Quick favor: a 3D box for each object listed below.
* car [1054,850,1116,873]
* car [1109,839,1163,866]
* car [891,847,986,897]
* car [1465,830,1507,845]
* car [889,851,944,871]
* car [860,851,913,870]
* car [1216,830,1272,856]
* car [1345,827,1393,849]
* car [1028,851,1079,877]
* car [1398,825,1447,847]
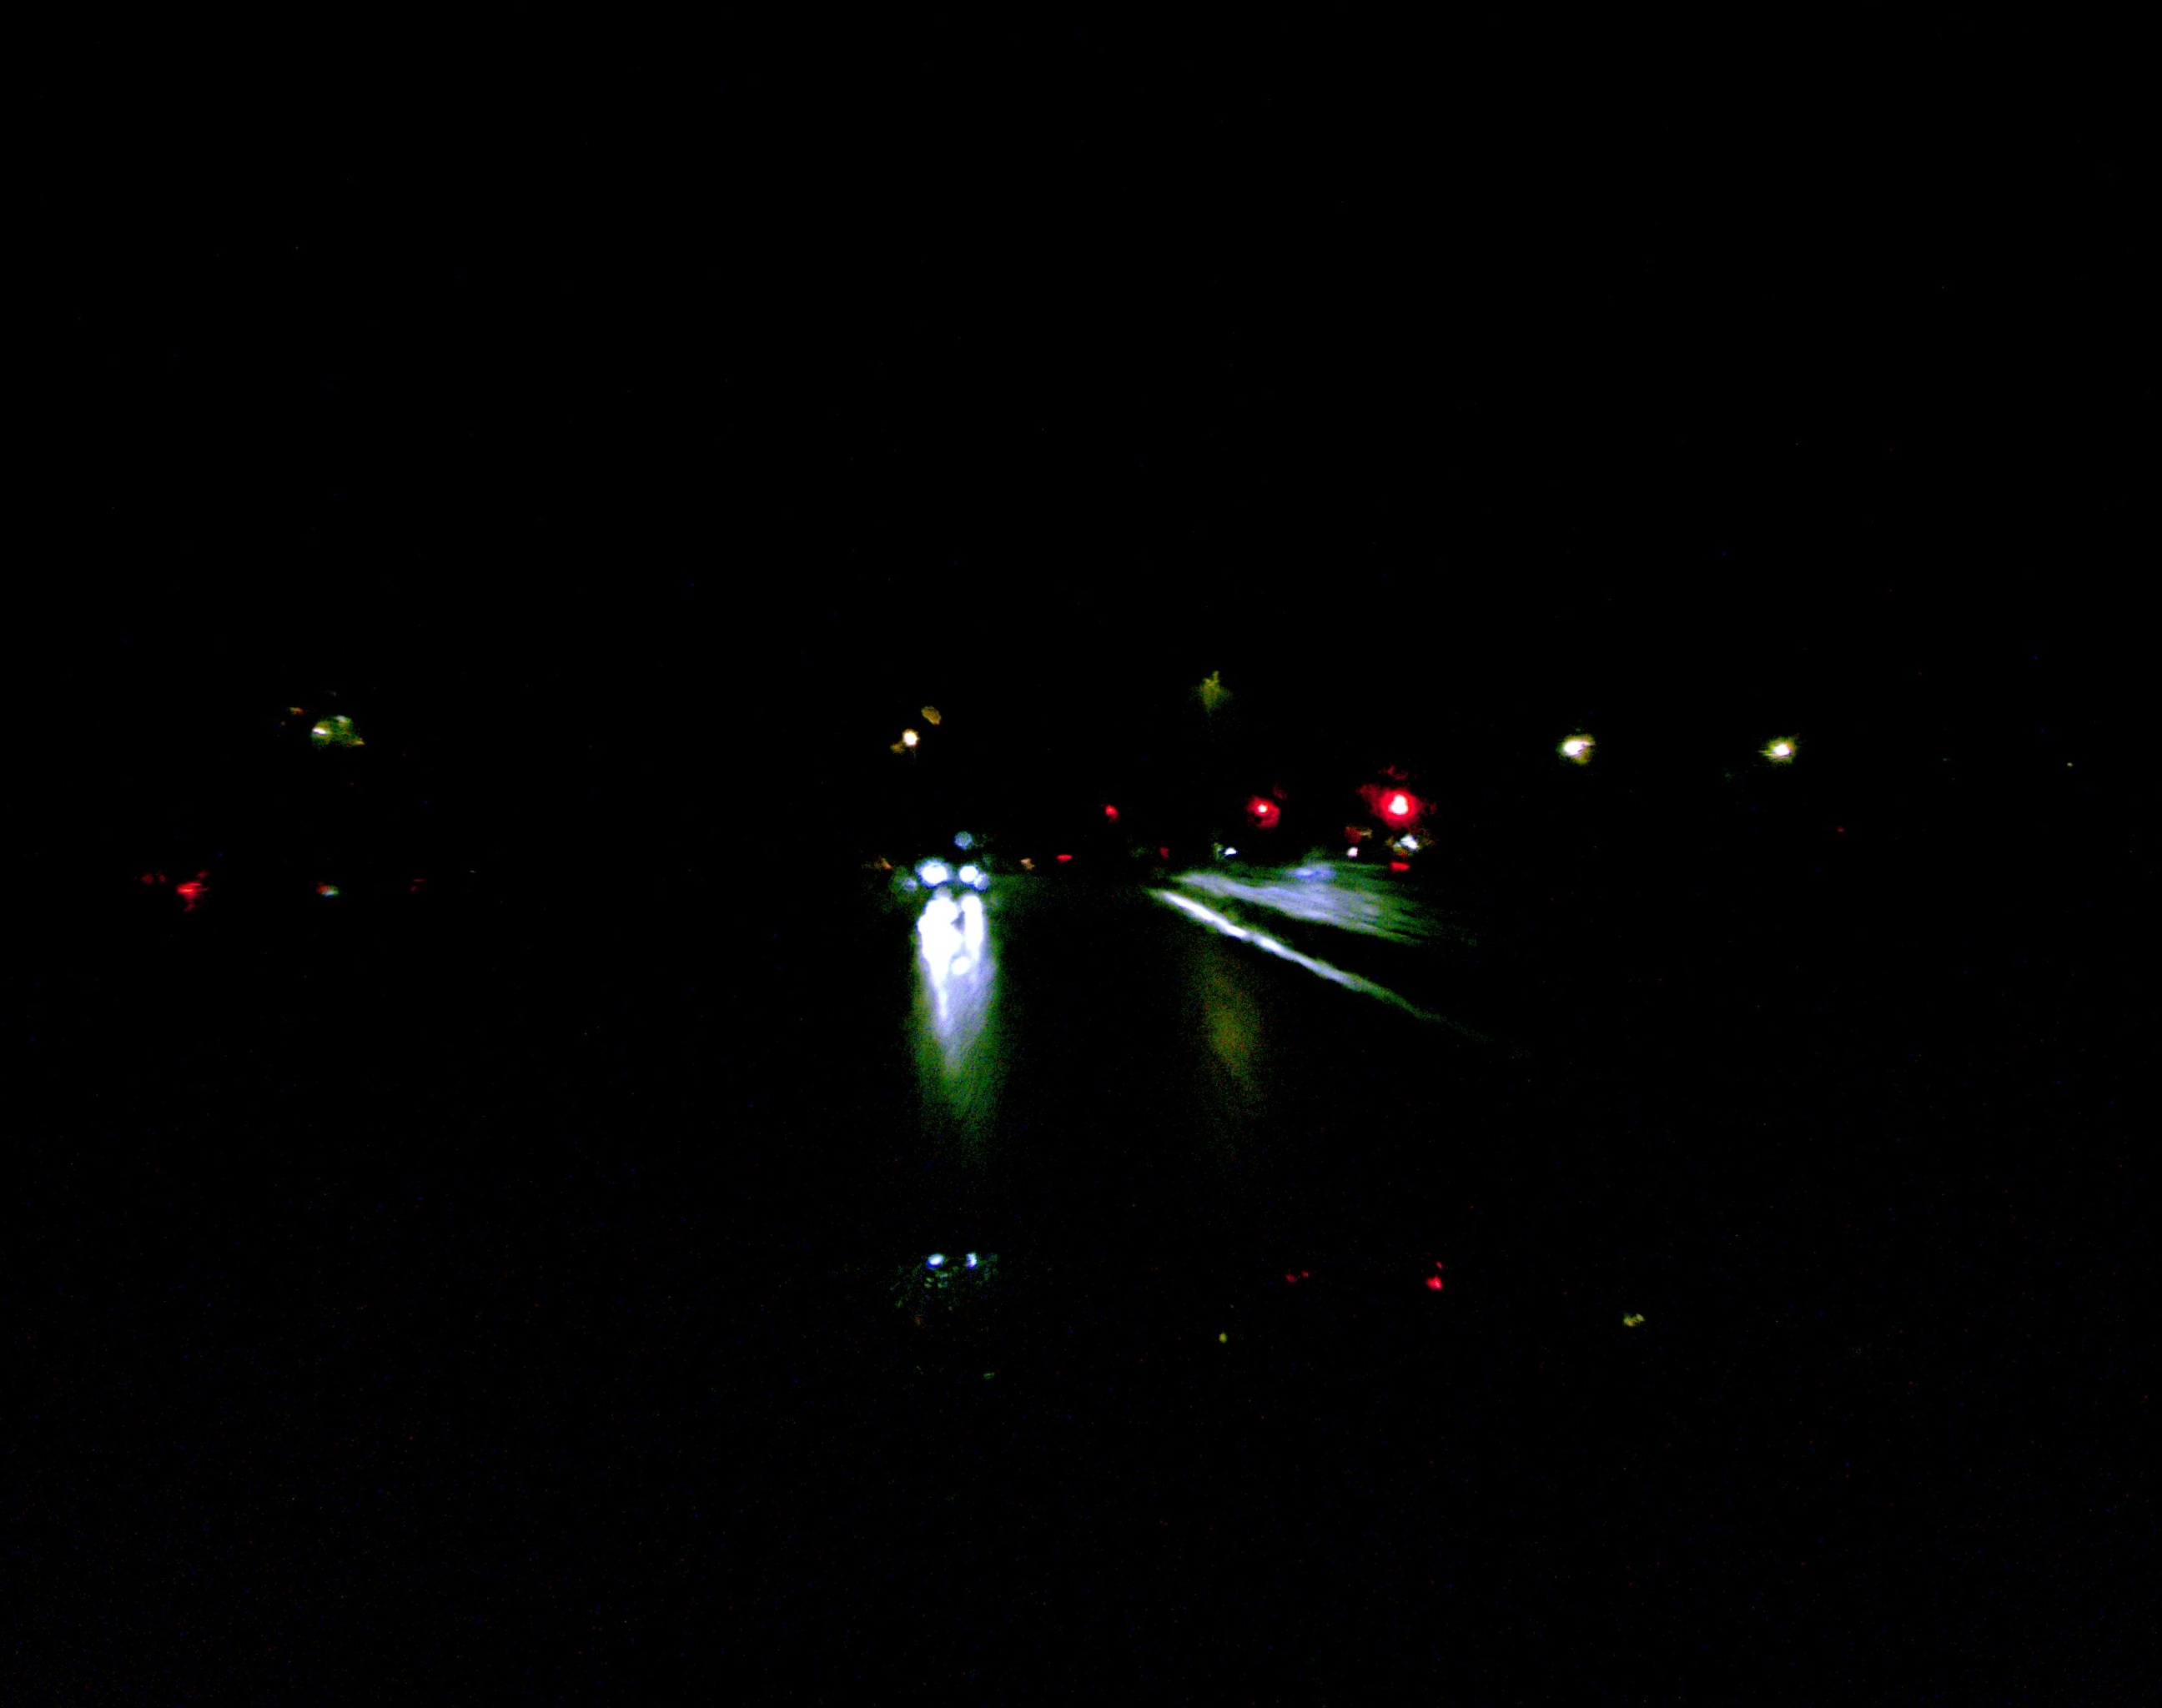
[{"bbox_3d":[0.277,0.547,53.392,4.004,1.432,1.716,1,-2,-18],"label":"car"},{"bbox_3d":[4.665,-0.093,64.581,4.001,1.783,1.998,-7,0,-15],"label":"car"},{"bbox_3d":[-5.572,0.671,29.410,2.003,1.737,4.089,-3,1,-36],"label":"car"},{"bbox_3d":[43.780,-1.799,82.174,4.003,1.432,1.716,-3,-1,-18],"label":"car"},{"bbox_3d":[-12.674,0.548,58.576,4.004,1.432,1.716,1,-2,-18],"label":"car"},{"bbox_3d":[-15.707,0.519,61.306,4.004,1.432,1.716,1,-2,-18],"label":"car"},{"bbox_3d":[13.739,-0.918,64.168,4.001,1.783,1.998,-5,0,-15],"label":"car"},{"bbox_3d":[28.997,-1.614,76.590,4.001,1.783,1.998,-5,0,-15],"label":"car"},{"bbox_3d":[-2.422,0.860,66.897,4.000,1.838,1.860,-7,0,-12],"label":"car"},{"bbox_3d":[33.831,-1.788,75.259,4.001,1.783,1.998,-5,0,-15],"label":"car"}]
